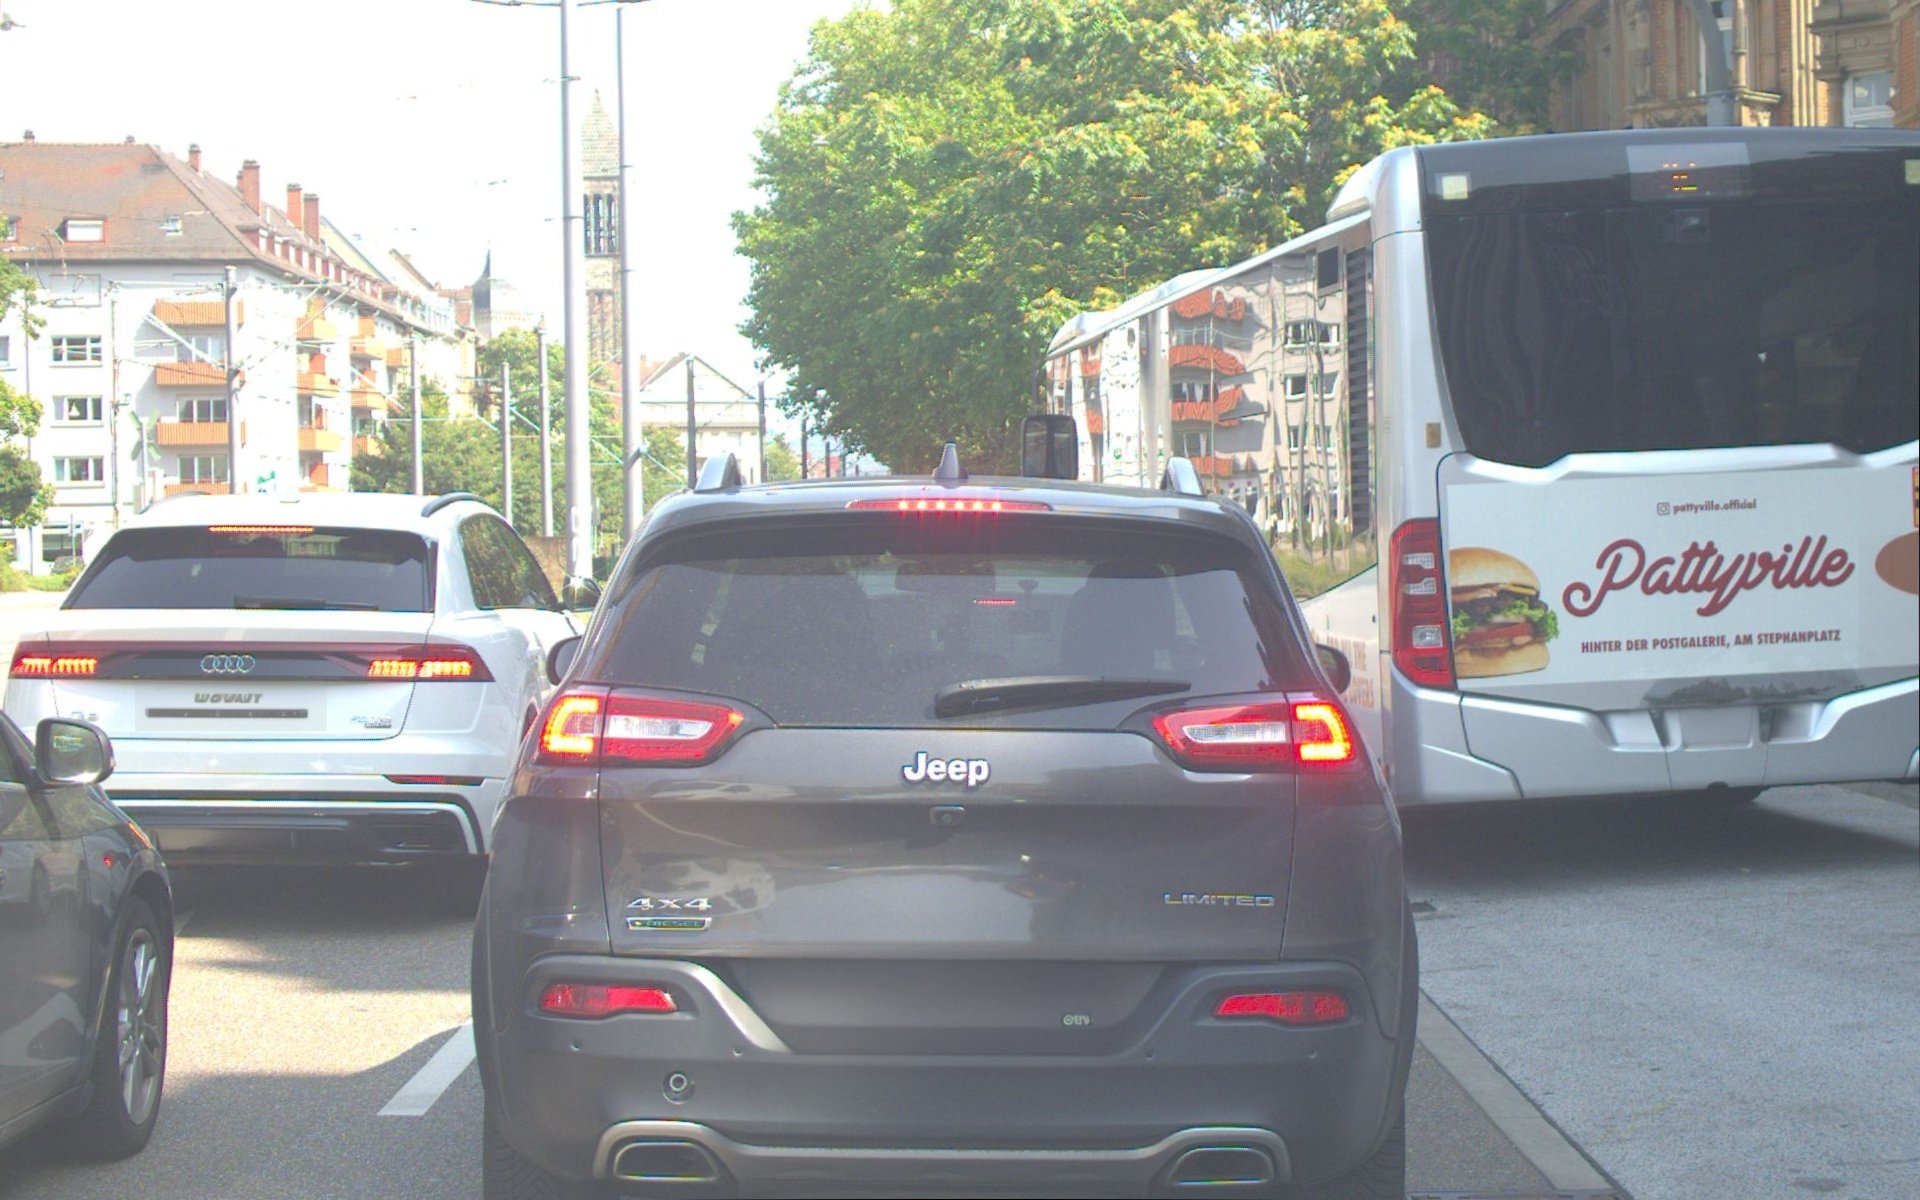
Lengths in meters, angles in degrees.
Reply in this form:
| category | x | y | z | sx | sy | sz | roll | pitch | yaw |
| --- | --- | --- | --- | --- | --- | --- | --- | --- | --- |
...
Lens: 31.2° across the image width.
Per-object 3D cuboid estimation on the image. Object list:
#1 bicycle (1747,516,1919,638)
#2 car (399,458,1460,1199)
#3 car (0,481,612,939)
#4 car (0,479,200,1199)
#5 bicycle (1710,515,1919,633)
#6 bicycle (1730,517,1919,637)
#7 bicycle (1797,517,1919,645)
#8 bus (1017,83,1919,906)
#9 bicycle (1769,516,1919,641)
| category | x | y | z | sx | sy | sz | roll | pitch | yaw |
| --- | --- | --- | --- | --- | --- | --- | --- | --- | --- |
| bicycle | 10.720 | -0.286 | 39.822 | 2.993 | 1.366 | 0.871 | -1 | 1 | -1 |
| car | -0.035 | 0.539 | 8.123 | 1.832 | 1.646 | 4.308 | 0 | 1 | 1 |
| car | -2.620 | 0.346 | 14.520 | 1.902 | 1.646 | 4.309 | 0 | 1 | 0 |
| car | -2.818 | 0.559 | 6.712 | 1.747 | 1.609 | 4.309 | 0 | 1 | 0 |
| bicycle | 10.723 | -0.330 | 41.713 | 3.003 | 1.368 | 0.947 | -1 | 1 | -1 |
| bicycle | 10.734 | -0.290 | 40.769 | 2.993 | 1.366 | 0.871 | -1 | 1 | -1 |
| bicycle | 10.874 | -0.237 | 38.003 | 2.993 | 1.366 | 0.871 | -1 | 1 | -1 |
| bus | 2.400 | -0.503 | 19.443 | 2.743 | 3.096 | 11.958 | -3 | 1 | -5 |
| bicycle | 10.770 | -0.269 | 38.909 | 2.993 | 1.366 | 0.871 | -1 | 1 | -1 |
